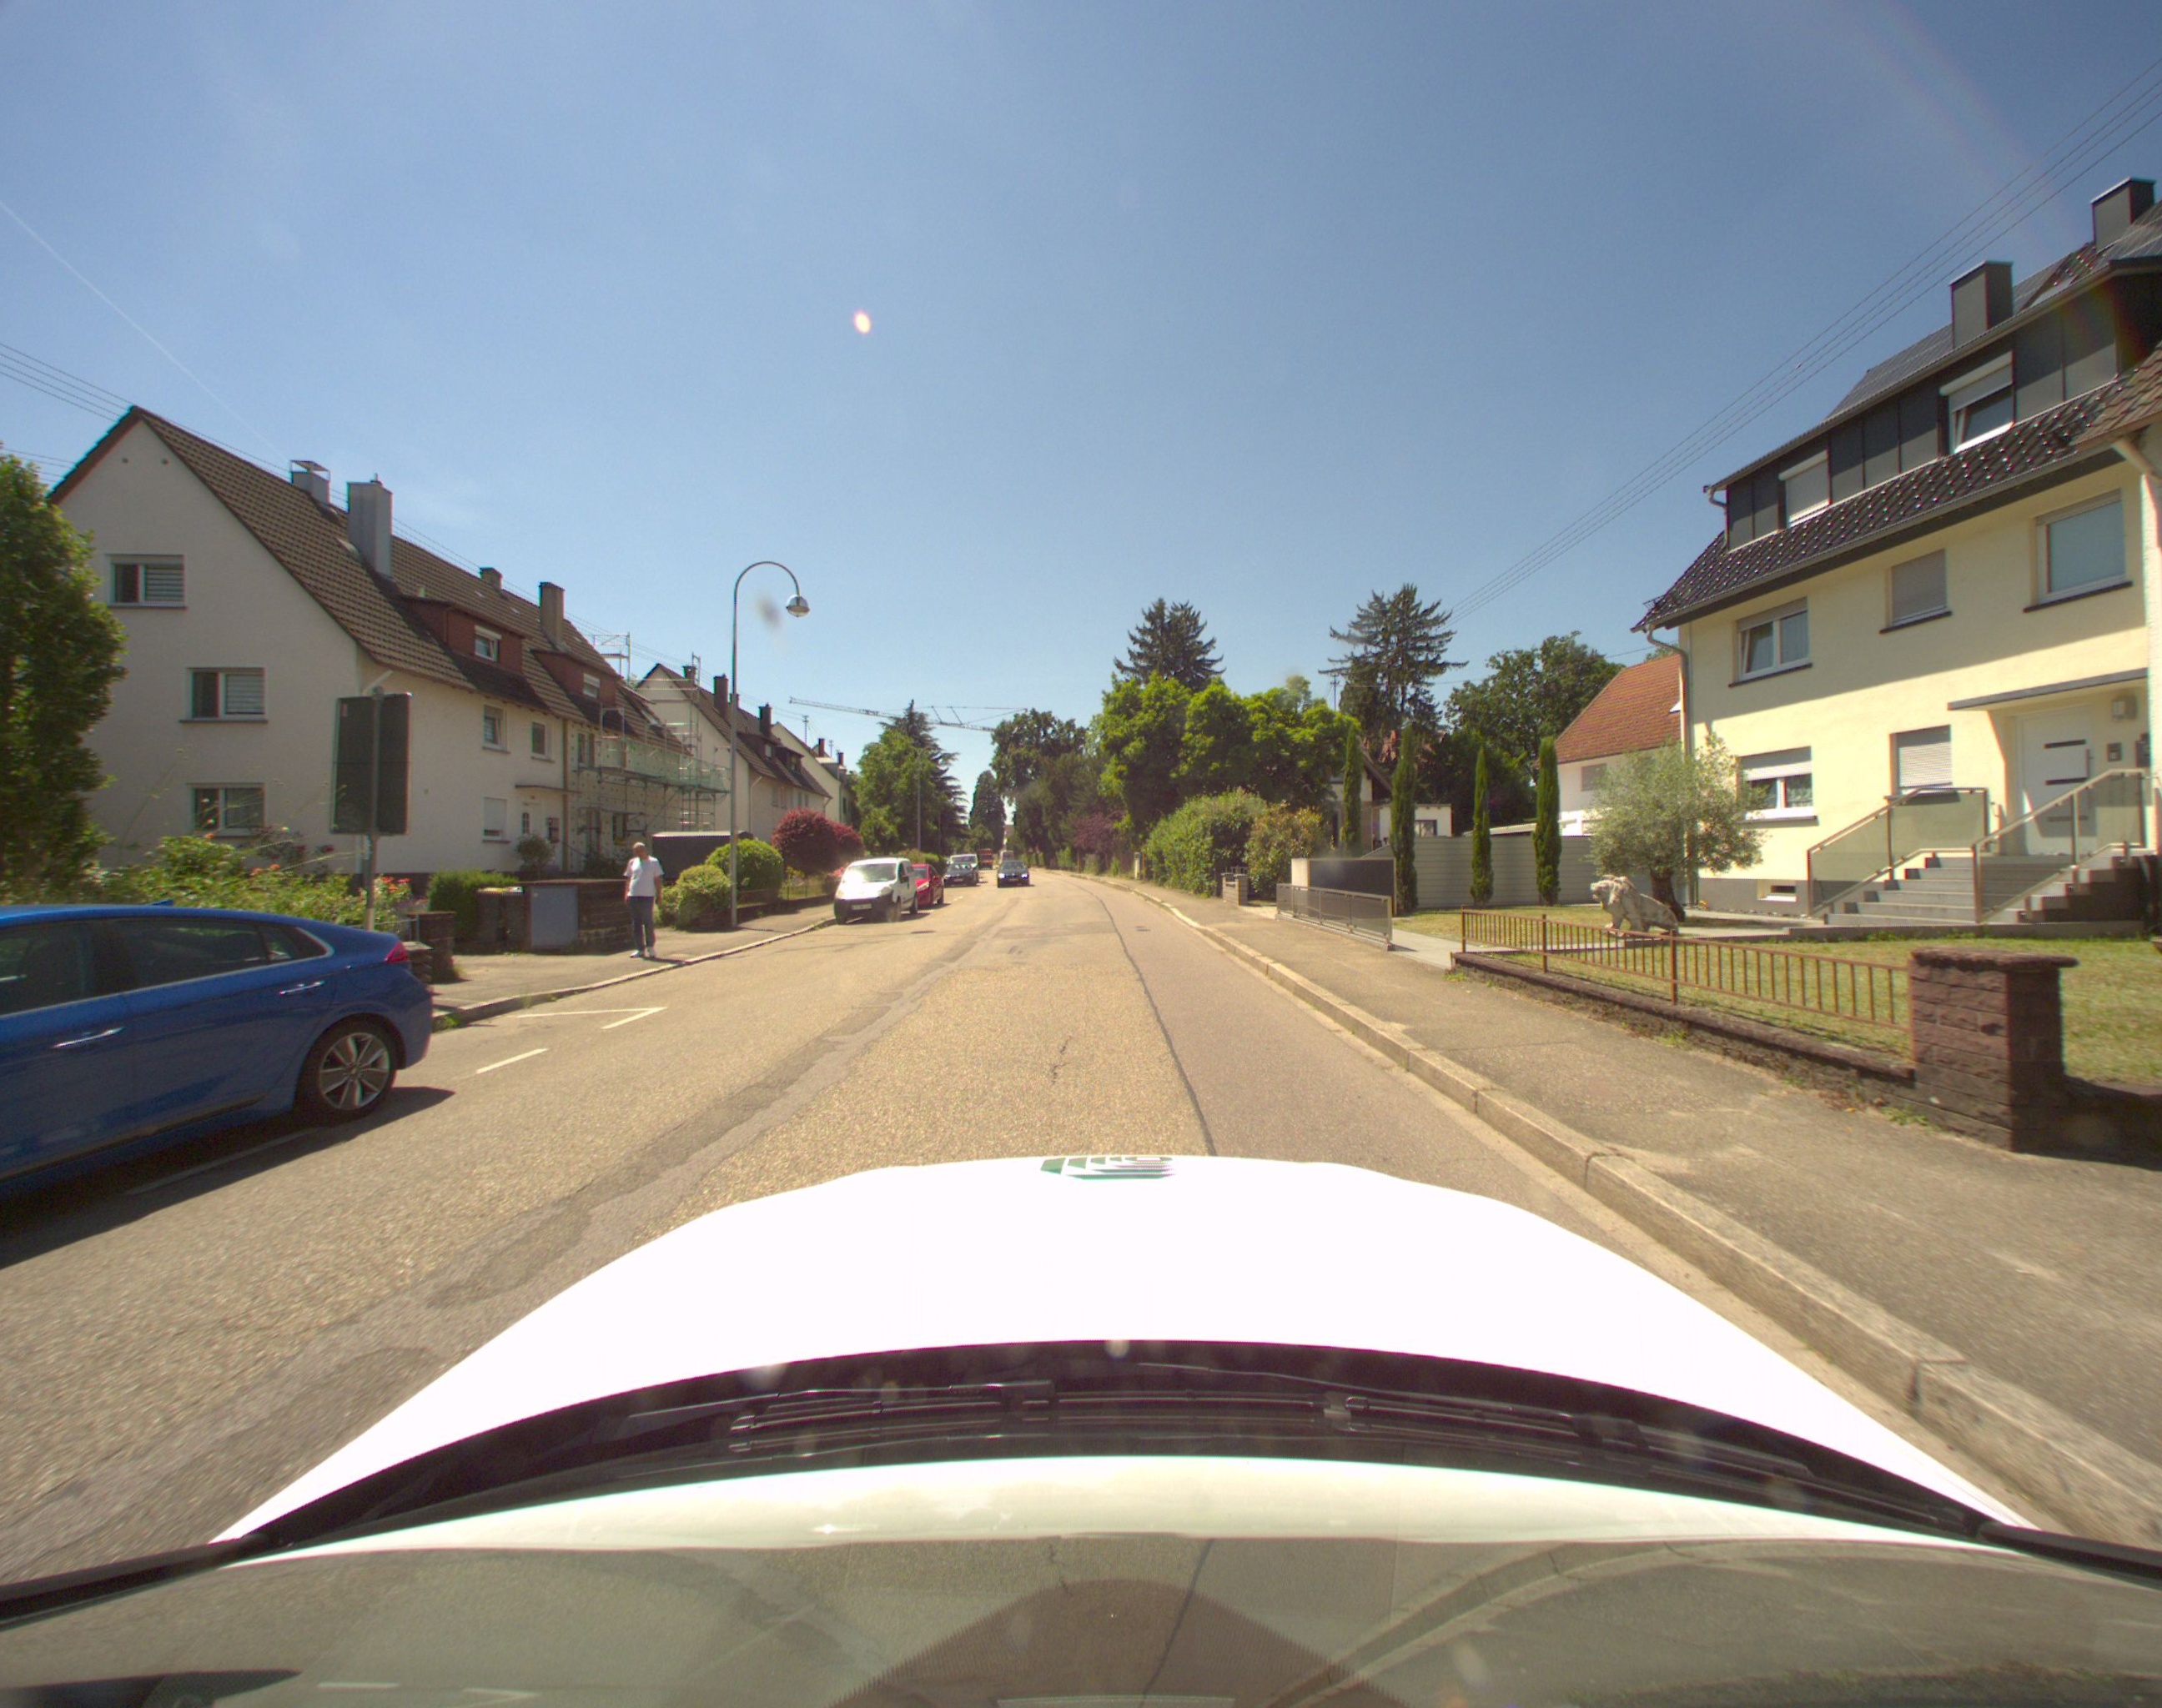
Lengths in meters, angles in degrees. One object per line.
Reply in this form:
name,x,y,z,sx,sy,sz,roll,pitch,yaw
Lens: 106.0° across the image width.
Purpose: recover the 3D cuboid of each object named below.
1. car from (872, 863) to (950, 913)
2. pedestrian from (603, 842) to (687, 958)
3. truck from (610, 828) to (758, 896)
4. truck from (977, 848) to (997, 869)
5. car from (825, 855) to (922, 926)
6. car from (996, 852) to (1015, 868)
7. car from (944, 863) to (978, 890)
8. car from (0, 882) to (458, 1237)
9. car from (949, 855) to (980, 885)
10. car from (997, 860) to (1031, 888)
car,-5.752,1.102,28.039,1.755,1.477,4.057,-3,0,0
pedestrian,-7.488,0.773,14.042,0.686,1.890,1.020,4,-1,5
truck,-12.259,0.240,25.304,3.759,1.938,1.545,-1,0,-3
truck,-13.275,0.661,115.046,2.374,2.830,5.637,-2,-1,-11
car,-5.751,0.947,23.020,1.718,1.736,3.885,-3,0,-1
car,-11.255,0.864,121.225,2.146,2.315,4.831,-2,0,-13
car,-7.004,1.276,47.866,1.696,1.384,4.227,-3,0,-5
car,-5.476,0.946,3.729,1.762,1.439,4.363,-3,-1,1
car,-7.864,1.065,55.519,1.884,1.881,4.969,-2,0,-6
car,-3.657,1.093,44.859,1.728,1.417,3.995,-2,-1,-3
